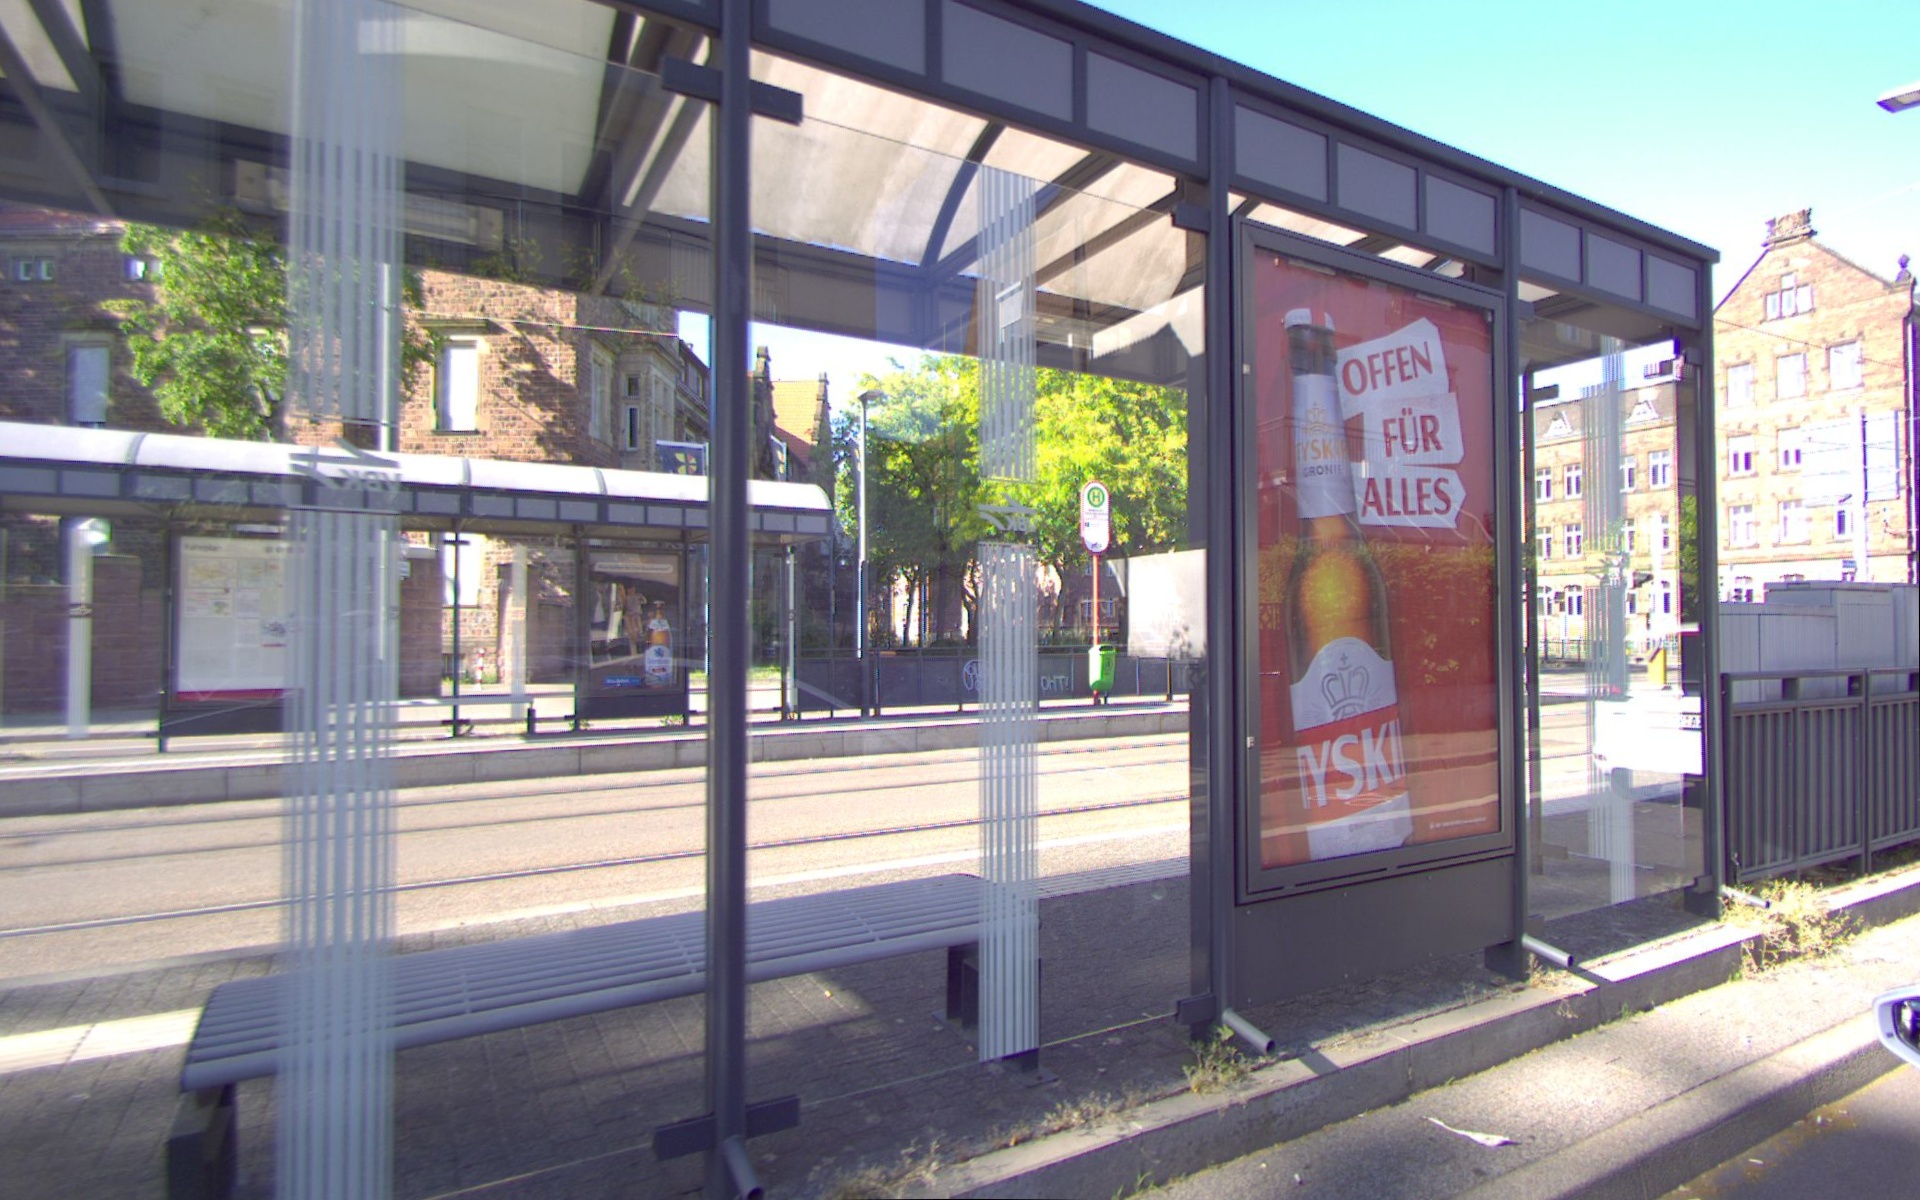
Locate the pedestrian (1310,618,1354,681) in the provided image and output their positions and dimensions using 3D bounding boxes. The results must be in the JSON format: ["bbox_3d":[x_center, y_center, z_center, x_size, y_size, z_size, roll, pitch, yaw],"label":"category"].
[{"bbox_3d":[11.226,1.489,30.328,1.082,1.885,0.724,1,-1,-27],"label":"pedestrian"}]

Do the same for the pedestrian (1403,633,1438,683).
[{"bbox_3d":[14.704,1.845,32.078,0.816,1.590,0.574,0,0,-9],"label":"pedestrian"}]

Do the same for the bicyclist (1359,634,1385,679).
[{"bbox_3d":[13.293,1.809,32.375,0.679,1.402,0.532,0,-2,35],"label":"bicyclist"}]

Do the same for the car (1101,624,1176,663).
[{"bbox_3d":[11.876,2.863,67.127,2.234,2.485,5.006,1,-2,-30],"label":"car"}]

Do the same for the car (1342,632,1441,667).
[{"bbox_3d":[20.190,2.296,47.110,1.853,1.542,4.050,1,-2,-27],"label":"car"}]

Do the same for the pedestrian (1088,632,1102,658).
[{"bbox_3d":[8.540,2.823,63.573,0.532,1.619,0.712,1,-1,-28],"label":"pedestrian"}]

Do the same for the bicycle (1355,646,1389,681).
[{"bbox_3d":[13.261,2.021,32.321,0.682,1.063,1.664,0,-2,34],"label":"bicycle"}]

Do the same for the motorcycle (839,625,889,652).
[{"bbox_3d":[-6.721,2.714,70.711,1.289,1.852,3.758,-1,-2,38],"label":"motorcycle"}]
